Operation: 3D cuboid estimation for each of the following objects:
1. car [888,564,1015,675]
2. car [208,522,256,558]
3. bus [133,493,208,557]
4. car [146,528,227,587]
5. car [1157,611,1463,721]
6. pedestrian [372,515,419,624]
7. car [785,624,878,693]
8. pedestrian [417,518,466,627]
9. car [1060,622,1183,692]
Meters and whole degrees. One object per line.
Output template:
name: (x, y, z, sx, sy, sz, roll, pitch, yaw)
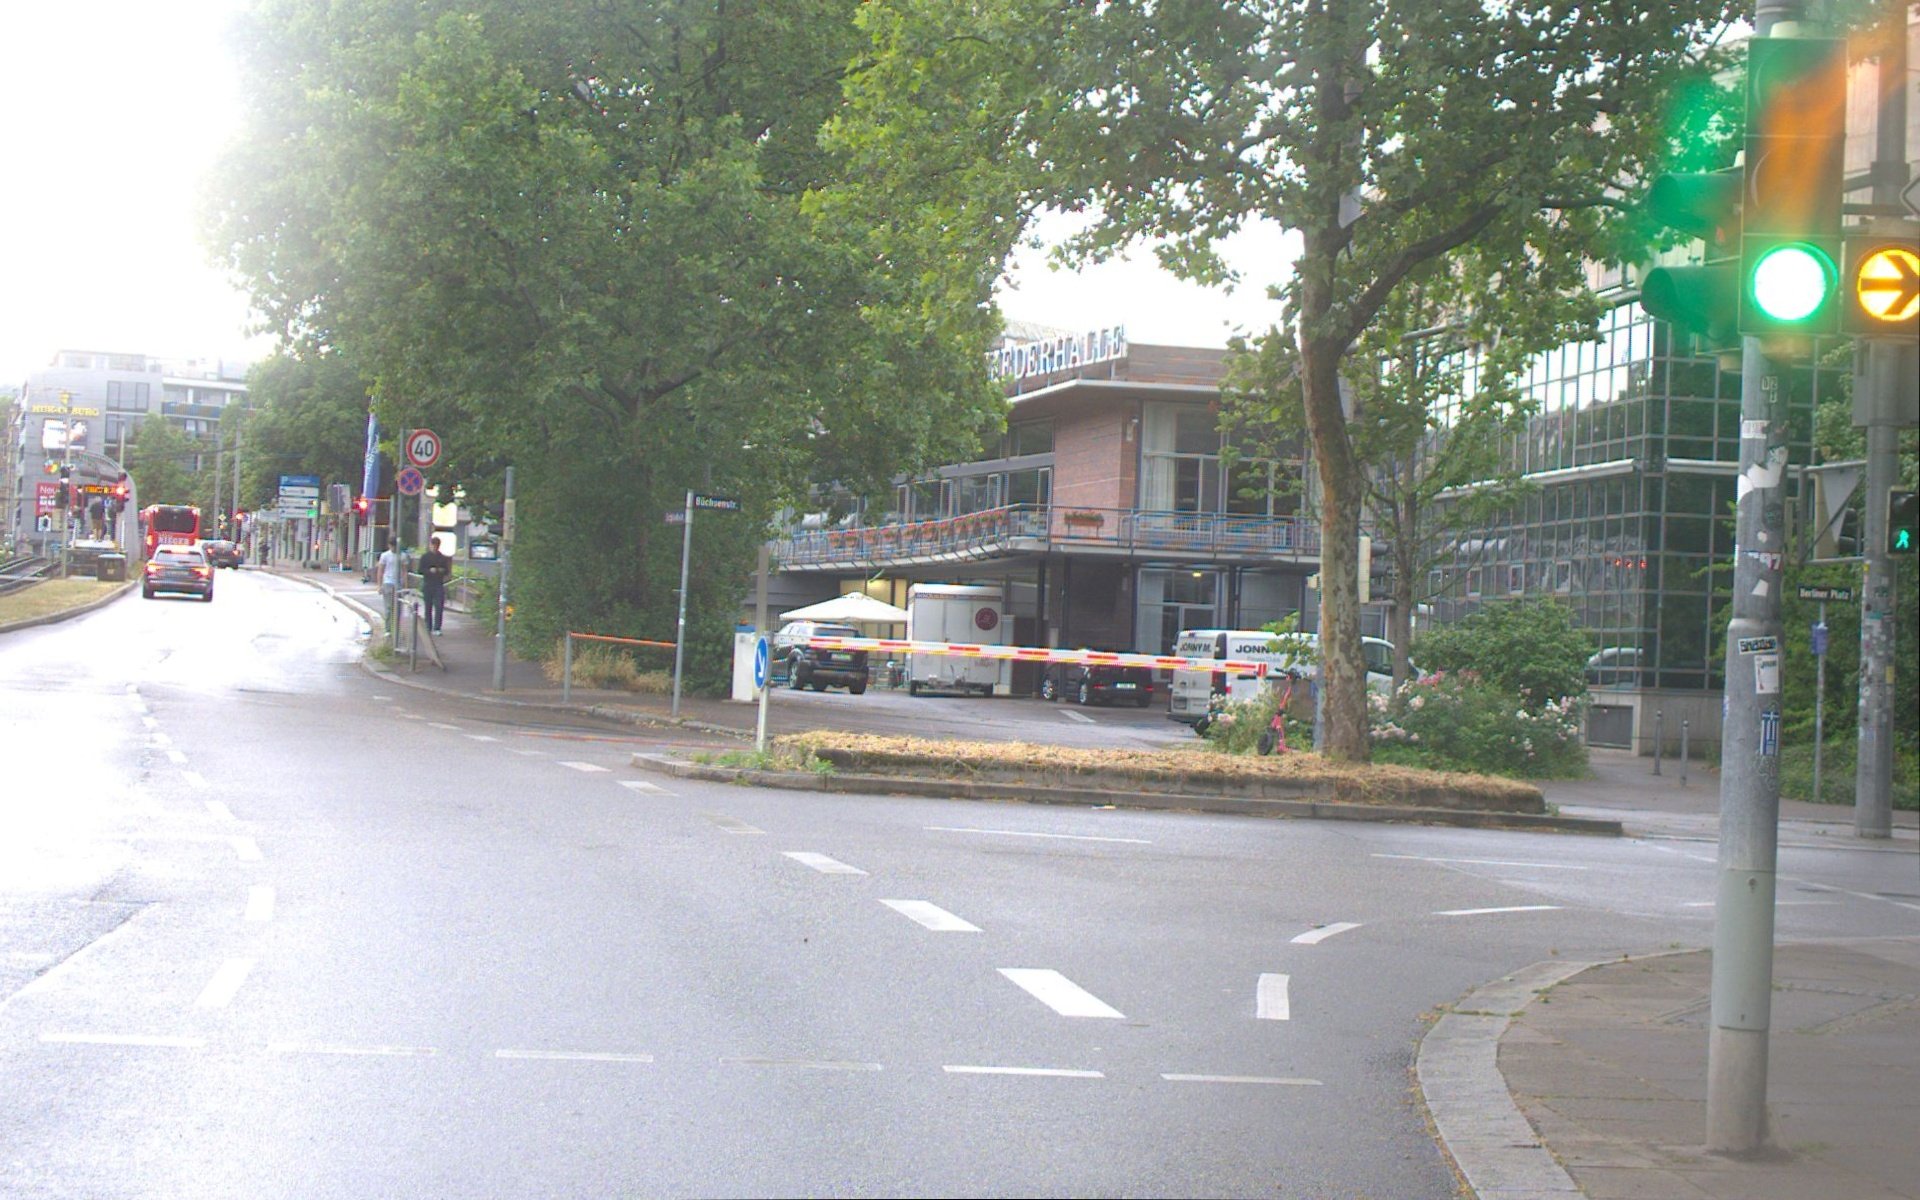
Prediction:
car: (-0.287, 0.462, 91.452, 2.731, 2.686, 6.923, 3, 1, -5)
car: (-38.427, -3.150, 181.412, 2.362, 1.810, 5.185, 1, 1, -13)
bus: (-40.518, -3.806, 176.430, 3.589, 3.160, 10.423, 1, 1, -13)
car: (-20.585, -1.124, 91.626, 1.993, 1.514, 4.351, 1, 1, -11)
car: (6.353, 1.199, 62.225, 5.198, 1.725, 1.875, 3, 1, -25)
pedestrian: (-10.522, -0.571, 64.115, 0.814, 2.007, 1.077, 1, 0, -8)
car: (-3.251, 1.485, 87.967, 2.019, 1.546, 4.350, 3, 1, 2)
pedestrian: (-9.700, -0.519, 64.346, 0.874, 2.007, 1.077, 1, 0, -8)
car: (4.153, 1.464, 89.235, 2.019, 1.546, 4.351, 3, 1, -13)
